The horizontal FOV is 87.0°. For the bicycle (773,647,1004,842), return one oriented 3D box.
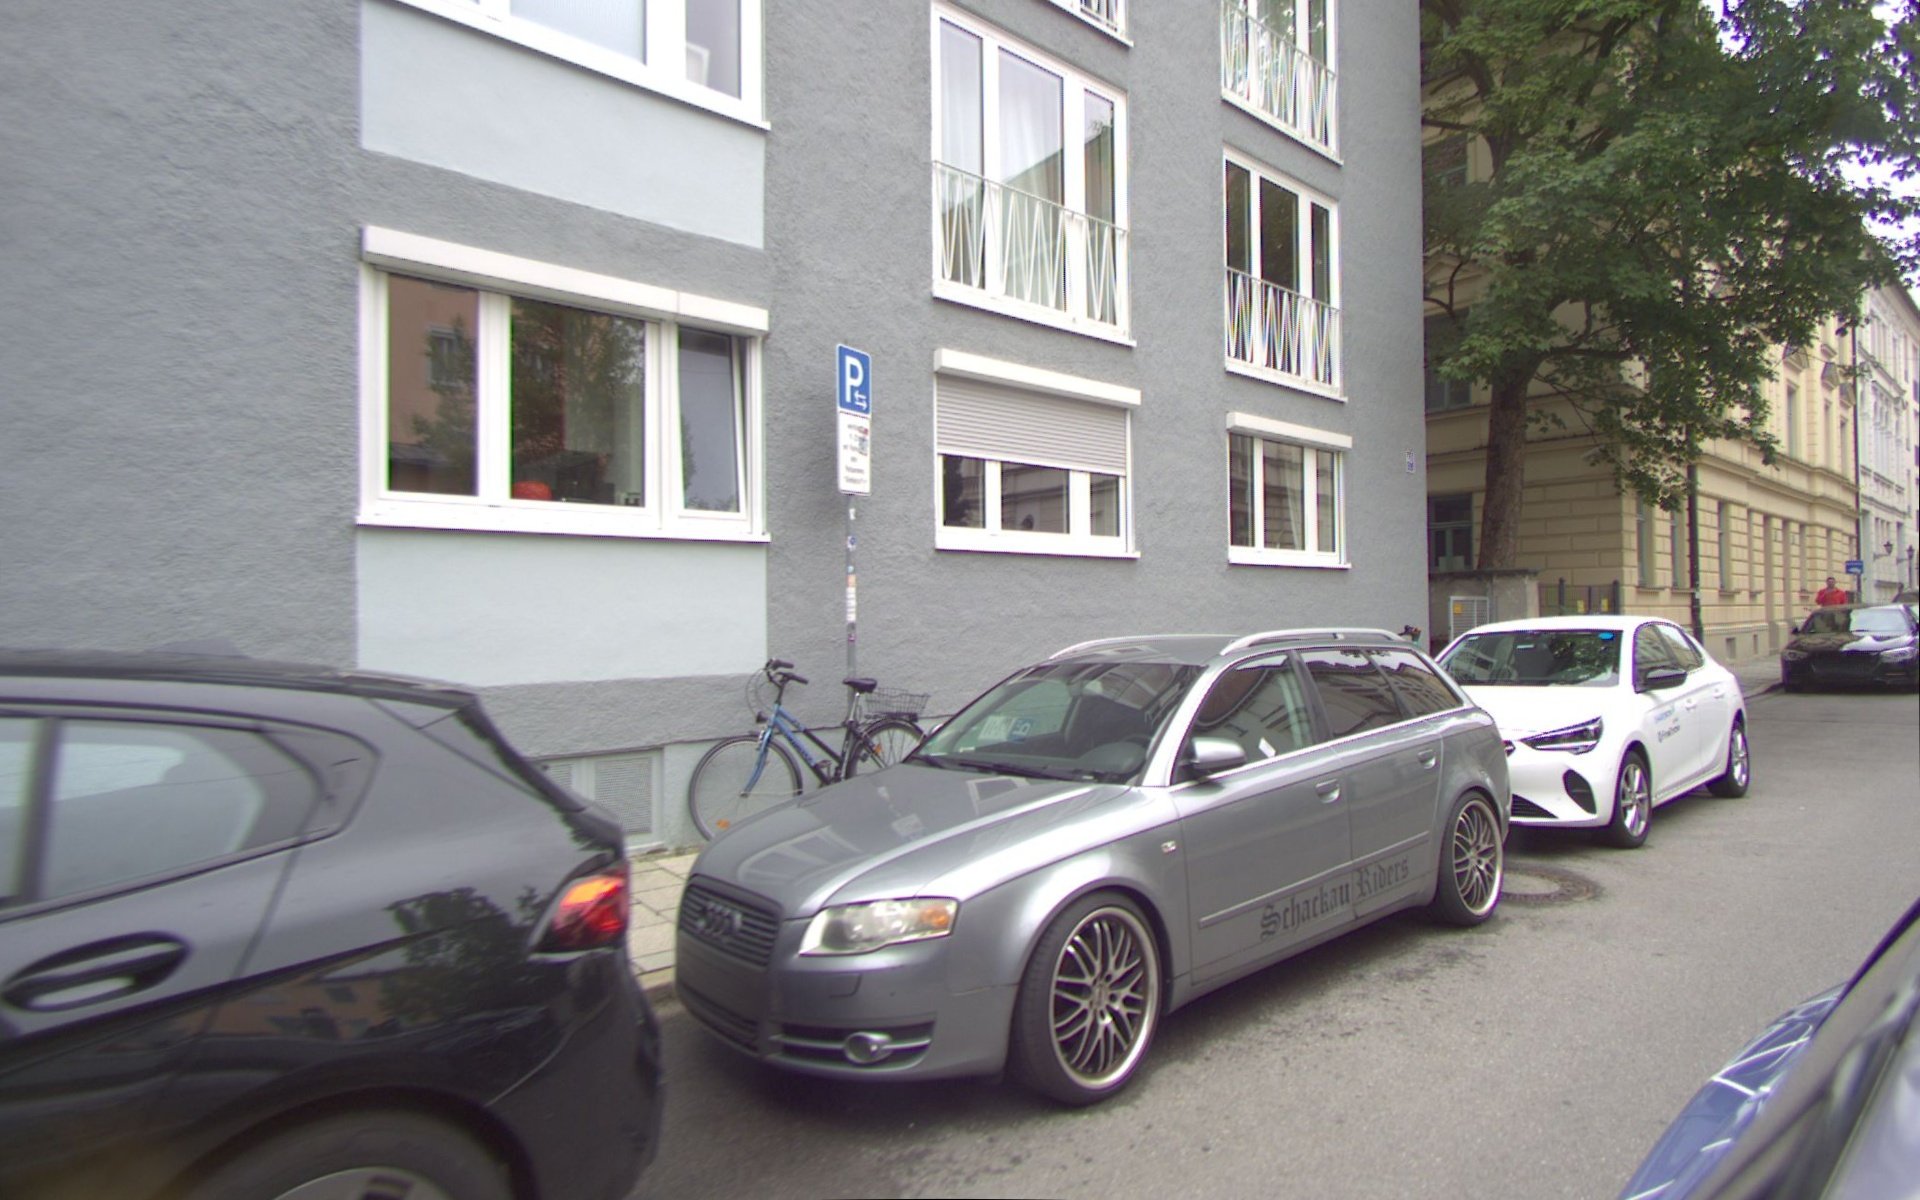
[{"bbox_3d":[-0.444,0.914,6.870,1.656,1.124,0.378,0,-1,-40],"label":"bicycle"}]

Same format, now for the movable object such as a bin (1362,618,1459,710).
[{"bbox_3d":[7.091,0.992,15.945,1.034,1.377,1.000,0,-3,-41],"label":"movable object such as a bin"}]

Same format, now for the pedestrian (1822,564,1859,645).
[{"bbox_3d":[22.106,0.109,25.400,0.447,2.003,0.580,0,-2,-40],"label":"pedestrian"}]

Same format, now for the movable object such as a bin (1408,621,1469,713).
[{"bbox_3d":[7.383,1.021,15.609,0.622,1.377,0.590,0,-3,-41],"label":"movable object such as a bin"}]

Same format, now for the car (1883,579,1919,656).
[{"bbox_3d":[23.451,0.372,23.799,4.430,1.708,1.997,0,0,-40],"label":"car"}]

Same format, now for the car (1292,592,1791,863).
[{"bbox_3d":[4.525,0.755,7.608,4.266,1.465,1.771,-1,-4,-40],"label":"car"}]

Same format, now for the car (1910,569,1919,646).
[{"bbox_3d":[27.891,0.179,27.711,4.971,2.039,1.998,0,0,-38],"label":"car"}]

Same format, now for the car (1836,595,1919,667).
[{"bbox_3d":[19.469,0.575,20.421,4.511,1.330,1.997,0,0,-40],"label":"car"}]

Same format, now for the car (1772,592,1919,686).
[{"bbox_3d":[15.477,0.599,17.205,4.433,1.392,1.857,-1,-3,-42],"label":"car"}]

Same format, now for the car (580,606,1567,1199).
[{"bbox_3d":[0.833,0.830,4.546,4.405,1.420,1.792,-1,-4,-40],"label":"car"}]

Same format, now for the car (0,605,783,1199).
[{"bbox_3d":[-2.556,0.813,1.447,4.191,1.447,1.842,0,-5,-42],"label":"car"}]

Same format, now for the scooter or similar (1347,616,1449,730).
[{"bbox_3d":[5.010,0.801,11.554,1.351,1.189,0.506,-1,0,-39],"label":"scooter or similar"}]
